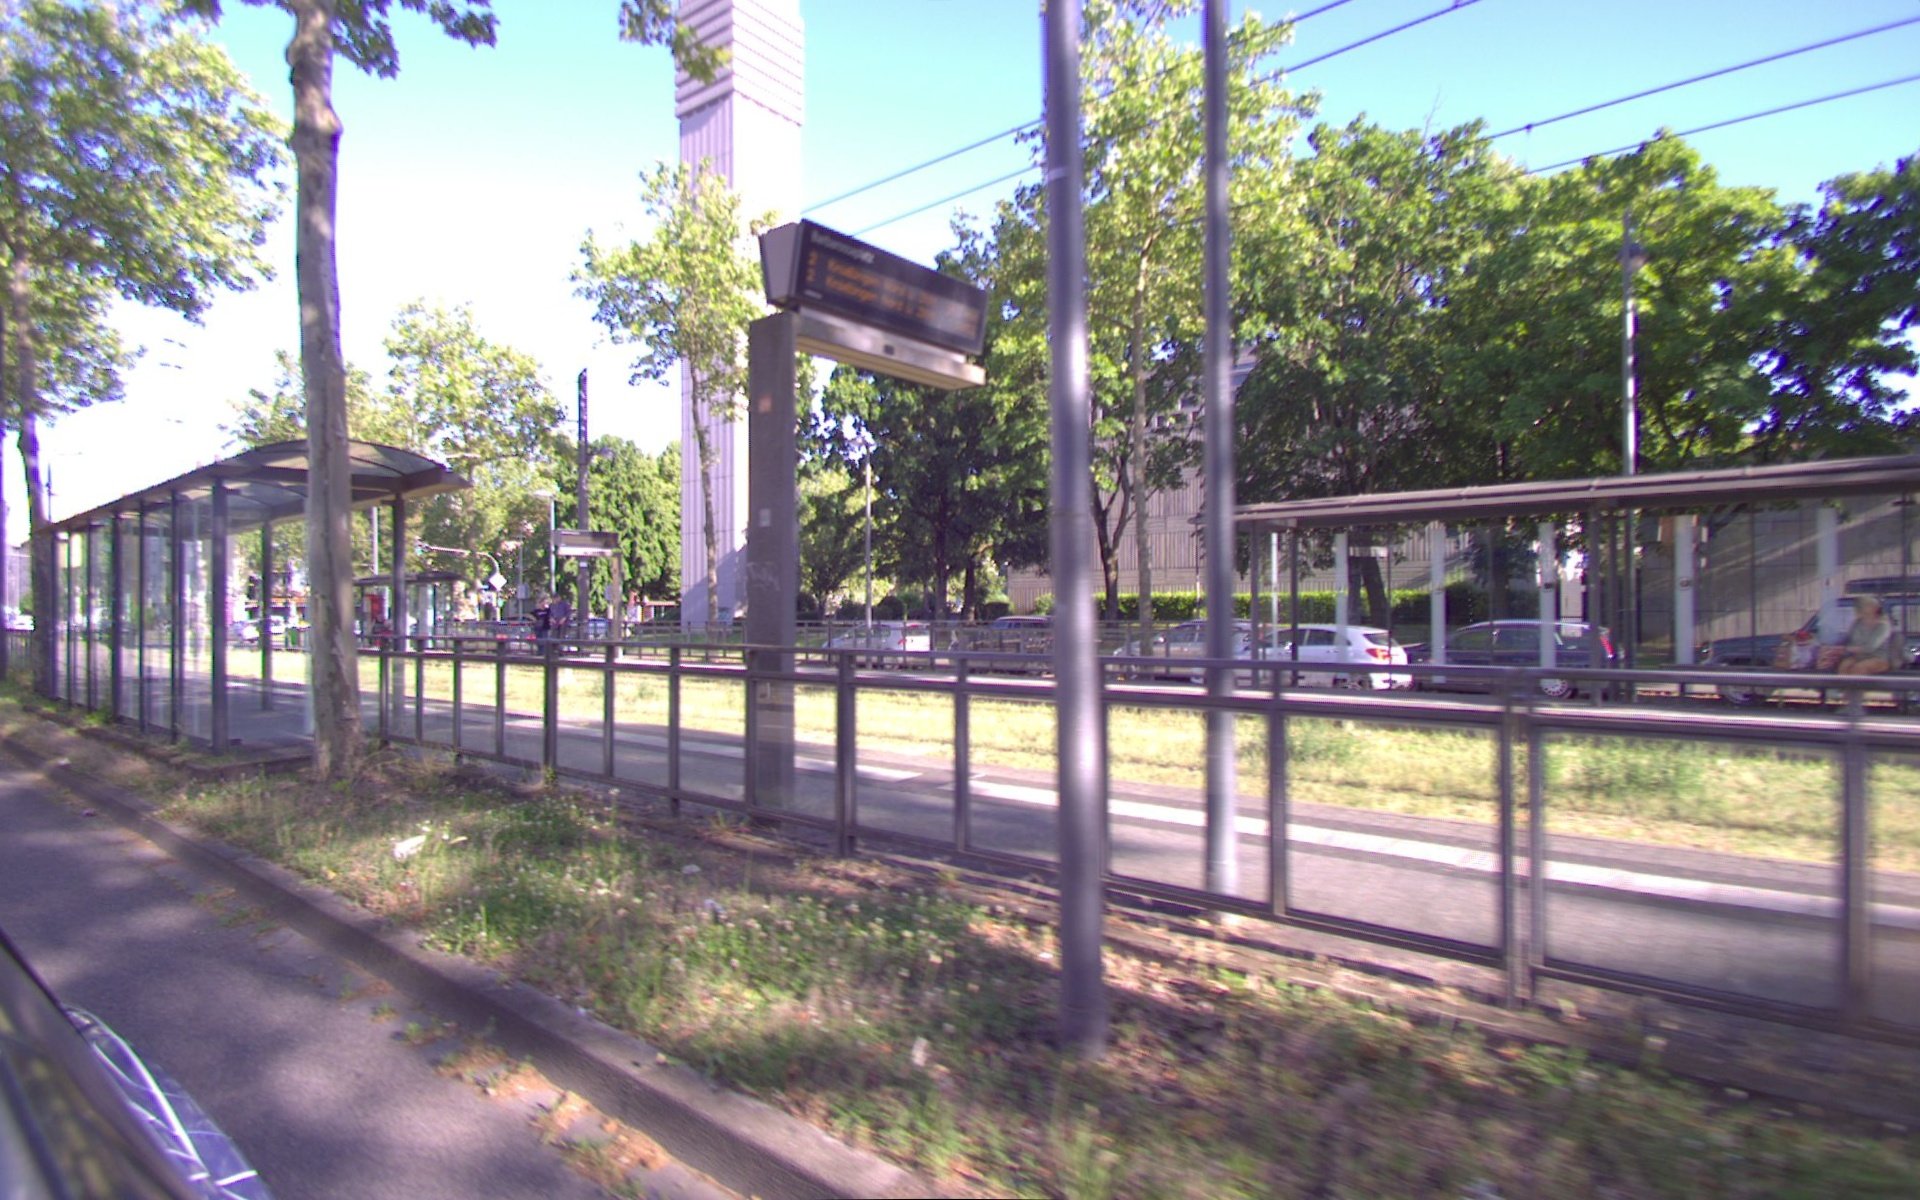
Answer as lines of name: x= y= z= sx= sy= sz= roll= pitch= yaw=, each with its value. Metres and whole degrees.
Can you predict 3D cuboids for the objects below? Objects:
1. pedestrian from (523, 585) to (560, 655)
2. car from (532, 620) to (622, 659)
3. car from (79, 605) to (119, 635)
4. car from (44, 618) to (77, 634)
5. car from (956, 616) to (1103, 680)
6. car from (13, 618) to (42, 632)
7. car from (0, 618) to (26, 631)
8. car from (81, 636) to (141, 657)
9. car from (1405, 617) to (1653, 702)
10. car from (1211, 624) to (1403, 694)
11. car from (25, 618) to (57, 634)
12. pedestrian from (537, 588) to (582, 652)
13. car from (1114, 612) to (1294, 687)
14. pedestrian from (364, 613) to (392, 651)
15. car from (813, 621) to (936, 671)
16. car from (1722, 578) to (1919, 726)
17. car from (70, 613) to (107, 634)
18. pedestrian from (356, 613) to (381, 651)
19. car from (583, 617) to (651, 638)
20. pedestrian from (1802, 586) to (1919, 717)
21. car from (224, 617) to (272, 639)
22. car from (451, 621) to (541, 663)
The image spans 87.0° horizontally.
pedestrian: x=-11.512 y=0.548 z=27.857 sx=0.636 sy=1.881 sz=0.712 roll=-1 pitch=0 yaw=41
car: x=-14.692 y=1.480 z=38.761 sx=3.998 sy=1.364 sz=1.535 roll=-1 pitch=-1 yaw=41
car: x=-84.107 y=1.945 z=98.833 sx=5.226 sy=2.846 sz=2.202 roll=-1 pitch=0 yaw=41
car: x=-98.137 y=2.826 z=110.389 sx=5.154 sy=1.720 sz=2.117 roll=-1 pitch=0 yaw=41
car: x=1.870 y=1.273 z=27.986 sx=3.928 sy=1.645 sz=1.577 roll=-1 pitch=-1 yaw=41
car: x=-117.579 y=3.147 z=127.543 sx=5.442 sy=1.720 sz=2.117 roll=-1 pitch=0 yaw=41
car: x=-130.998 y=3.364 z=139.968 sx=5.399 sy=1.720 sz=2.117 roll=-1 pitch=0 yaw=41
car: x=-63.631 y=3.453 z=75.833 sx=4.507 sy=1.453 sz=1.938 roll=-1 pitch=-1 yaw=28
car: x=11.056 y=1.099 z=19.815 sx=4.016 sy=1.500 sz=1.578 roll=-1 pitch=-1 yaw=40
car: x=6.811 y=1.120 z=20.048 sx=3.373 sy=1.251 sz=1.250 roll=-1 pitch=-1 yaw=40
car: x=-106.253 y=2.962 z=116.988 sx=5.442 sy=1.720 sz=2.117 roll=-1 pitch=0 yaw=41
pedestrian: x=-10.861 y=0.537 z=27.446 sx=0.754 sy=1.702 sz=0.874 roll=-1 pitch=0 yaw=41
car: x=5.792 y=1.134 z=24.271 sx=3.927 sy=1.648 sz=1.578 roll=-1 pitch=-1 yaw=40
pedestrian: x=-20.966 y=1.144 z=36.452 sx=0.734 sy=1.352 sz=0.686 roll=-1 pitch=-1 yaw=42
car: x=-2.712 y=1.387 z=31.656 sx=3.928 sy=1.455 sz=1.577 roll=-1 pitch=-1 yaw=41
car: x=15.027 y=0.816 z=16.612 sx=3.930 sy=2.279 sz=1.696 roll=-1 pitch=-1 yaw=40
car: x=-89.132 y=2.353 z=103.488 sx=5.154 sy=2.049 sz=2.117 roll=-1 pitch=0 yaw=41
pedestrian: x=-21.631 y=1.155 z=37.011 sx=0.722 sy=1.352 sz=0.775 roll=0 pitch=-1 yaw=-36
car: x=-25.910 y=2.064 z=76.491 sx=1.999 sy=1.497 sz=4.468 roll=-1 pitch=-1 yaw=40
pedestrian: x=9.427 y=0.504 z=10.453 sx=0.825 sy=1.270 sz=0.802 roll=-1 pitch=0 yaw=-21
car: x=-43.620 y=1.713 z=62.006 sx=3.409 sy=1.335 sz=1.313 roll=-1 pitch=-1 yaw=35
car: x=-16.909 y=1.484 z=36.837 sx=3.532 sy=1.438 sz=1.590 roll=-1 pitch=-1 yaw=39
